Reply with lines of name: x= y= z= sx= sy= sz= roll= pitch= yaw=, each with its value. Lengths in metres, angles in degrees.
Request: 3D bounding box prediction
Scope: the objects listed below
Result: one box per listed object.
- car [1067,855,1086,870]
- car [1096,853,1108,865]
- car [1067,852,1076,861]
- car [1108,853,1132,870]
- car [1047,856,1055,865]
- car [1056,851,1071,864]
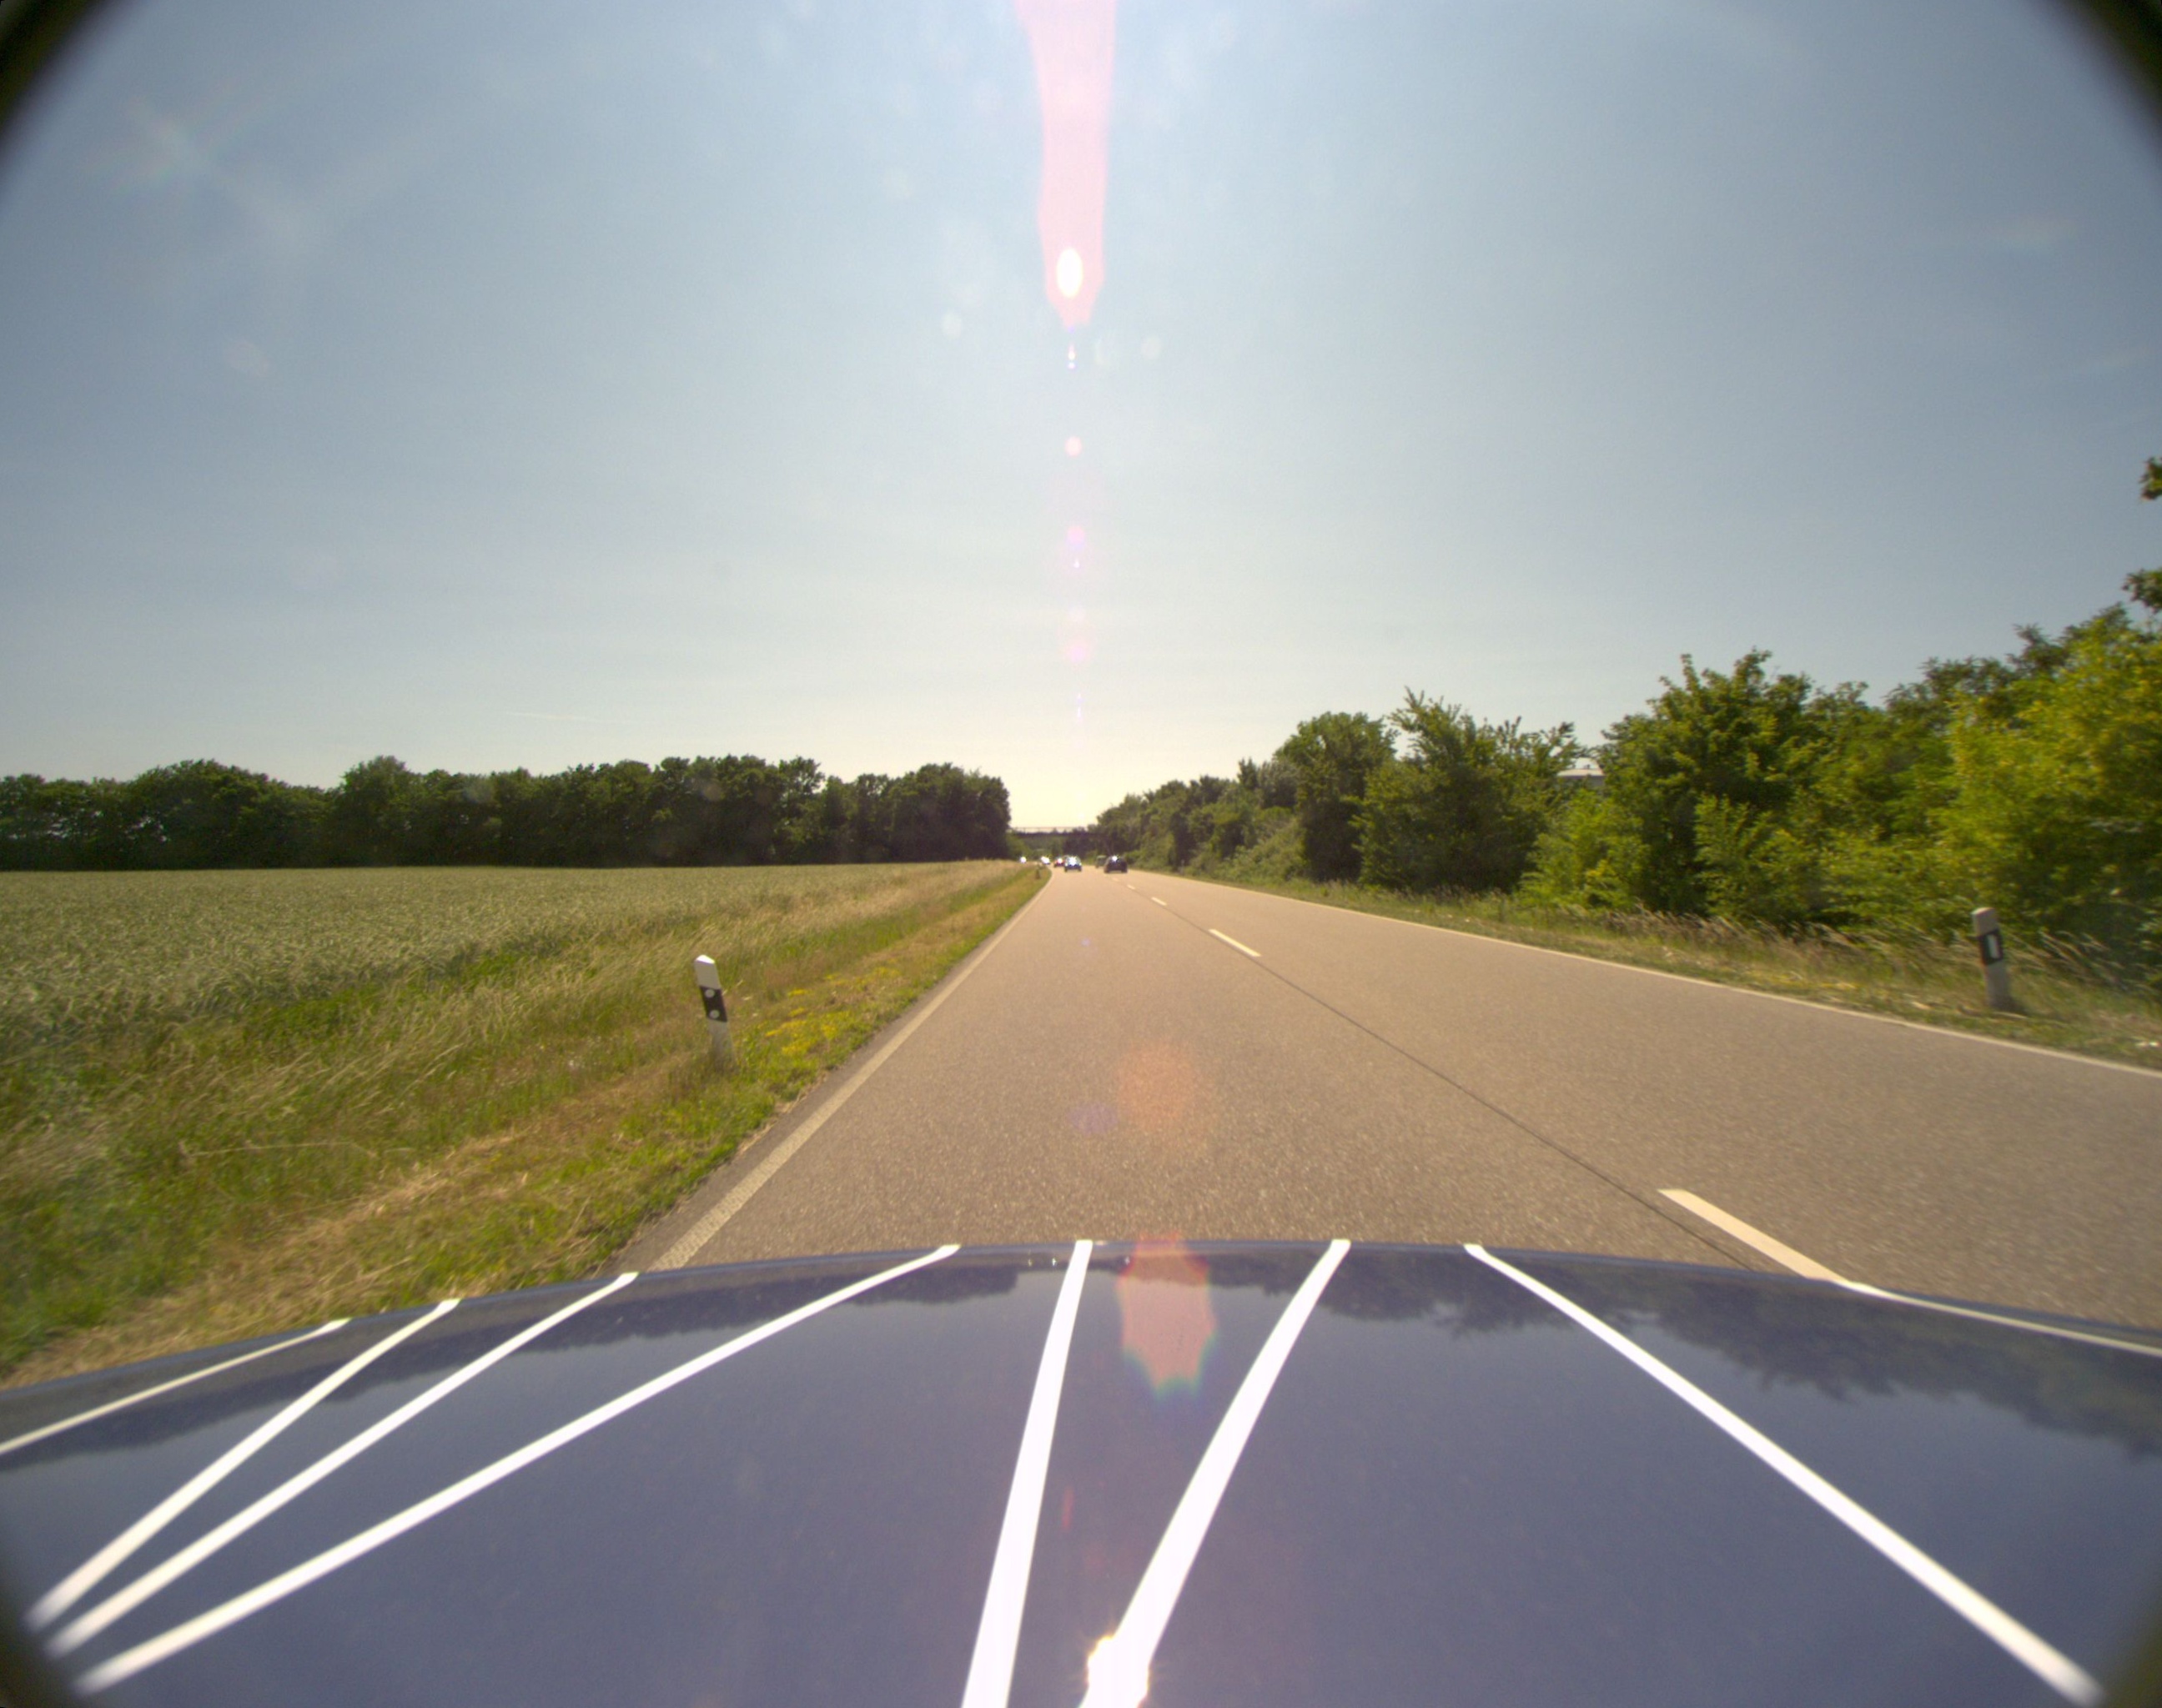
car: x=-0.497 y=0.864 z=80.521 sx=1.694 sy=1.431 sz=3.708 roll=-2 pitch=0 yaw=-4
car: x=2.699 y=0.650 z=98.371 sx=1.500 sy=1.487 sz=3.832 roll=-2 pitch=0 yaw=0
car: x=-1.990 y=0.448 z=162.789 sx=1.767 sy=1.808 sz=4.802 roll=-2 pitch=0 yaw=-3
car: x=3.536 y=0.656 z=69.111 sx=1.805 sy=1.442 sz=4.532 roll=-2 pitch=0 yaw=-2
car: x=-6.495 y=1.375 z=164.152 sx=1.553 sy=1.659 sz=3.999 roll=-2 pitch=1 yaw=-1
car: x=-2.751 y=0.568 z=118.186 sx=1.999 sy=2.002 sz=3.998 roll=-2 pitch=0 yaw=-4
